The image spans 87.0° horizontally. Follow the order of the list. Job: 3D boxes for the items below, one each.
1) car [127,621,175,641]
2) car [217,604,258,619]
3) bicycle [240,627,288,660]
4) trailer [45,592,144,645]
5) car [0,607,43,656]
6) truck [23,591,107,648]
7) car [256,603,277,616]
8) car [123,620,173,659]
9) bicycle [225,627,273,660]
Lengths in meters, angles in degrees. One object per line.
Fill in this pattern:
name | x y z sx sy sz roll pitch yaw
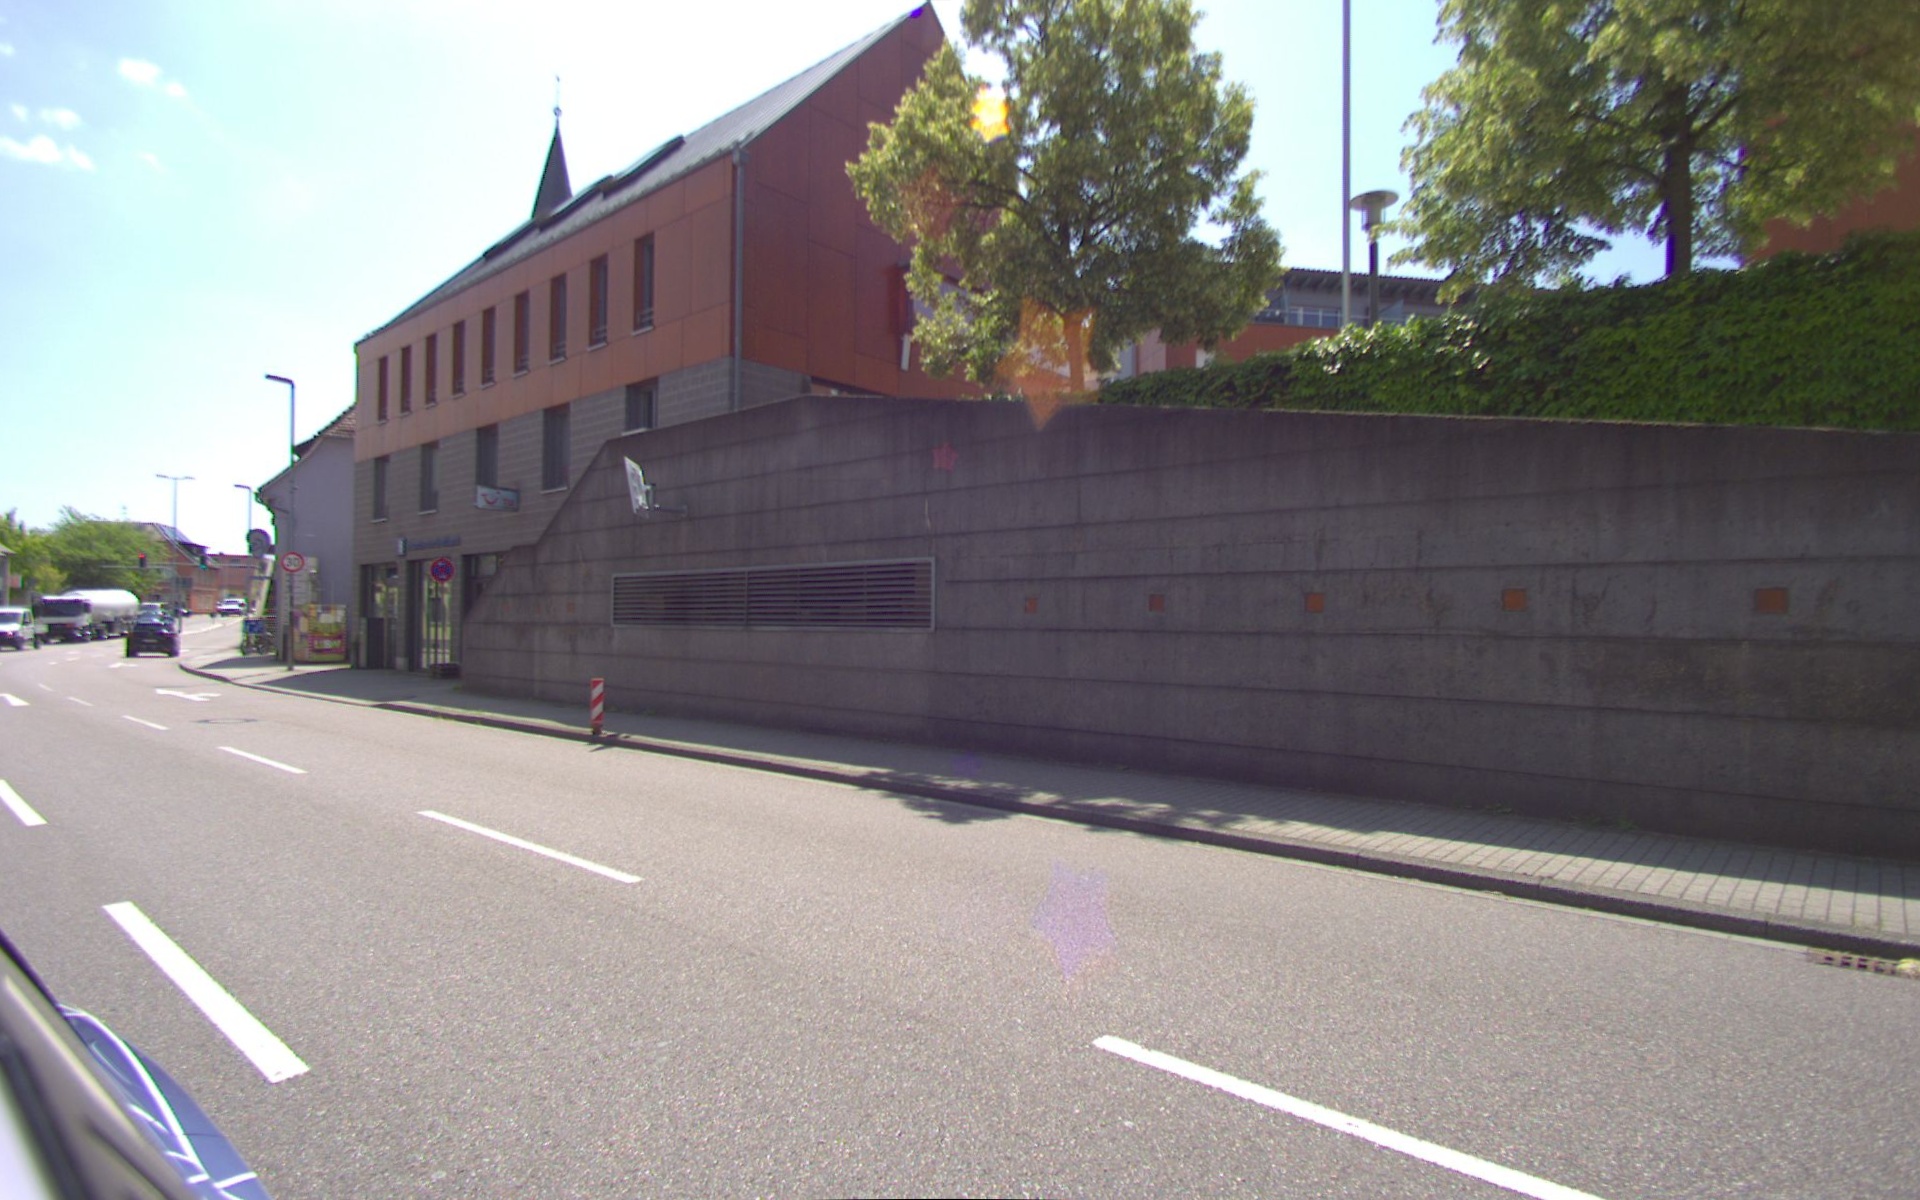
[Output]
car | -67.679 2.554 84.712 1.978 1.643 4.593 0 -1 -23
car | -79.227 1.306 110.986 1.980 1.643 4.589 0 -1 -12
bicycle | -29.392 1.814 42.780 0.571 1.258 1.828 -3 0 6
trailer | -62.118 1.348 72.970 2.791 3.597 11.000 1 -1 -27
car | -52.079 1.716 55.115 2.139 2.583 4.839 1 -1 -30
truck | -59.031 1.264 66.889 2.801 3.597 5.486 1 -1 -27
car | -93.141 1.311 136.002 1.978 1.643 4.591 1 -1 -30
car | -36.379 1.742 45.409 1.648 1.670 4.026 1 -2 -37
bicycle | -30.036 1.823 42.788 0.571 1.258 1.828 -3 0 6
